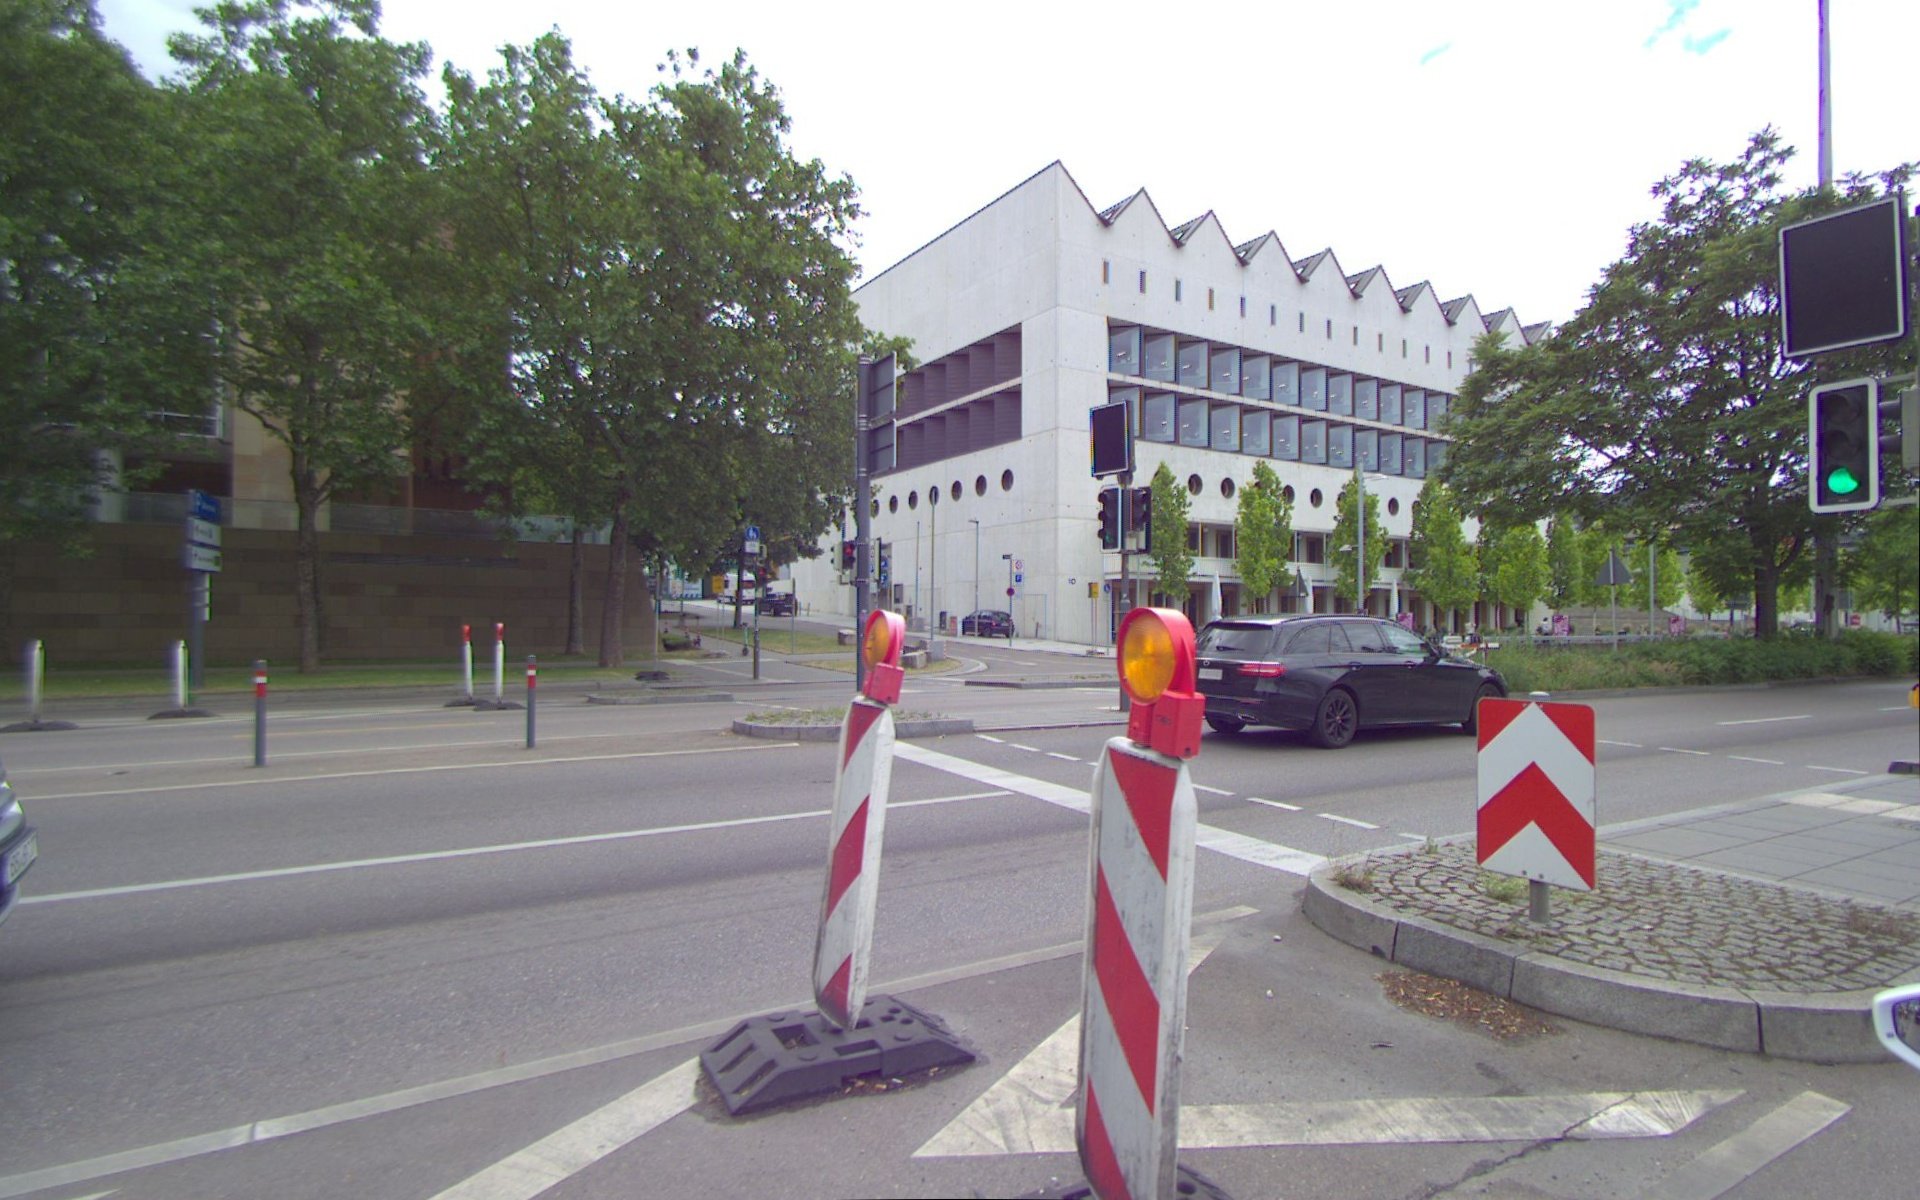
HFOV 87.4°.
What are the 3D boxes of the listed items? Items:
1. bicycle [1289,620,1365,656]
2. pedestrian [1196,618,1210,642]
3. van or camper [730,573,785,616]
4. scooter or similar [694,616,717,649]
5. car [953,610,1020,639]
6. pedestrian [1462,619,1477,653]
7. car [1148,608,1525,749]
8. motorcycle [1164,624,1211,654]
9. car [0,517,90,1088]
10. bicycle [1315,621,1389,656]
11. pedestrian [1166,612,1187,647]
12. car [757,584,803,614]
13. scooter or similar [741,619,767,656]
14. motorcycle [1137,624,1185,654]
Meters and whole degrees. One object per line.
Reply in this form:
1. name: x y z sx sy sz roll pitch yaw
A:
1. bicycle: 18.268 1.885 50.141 1.170 1.706 3.593 0 -1 -32
2. pedestrian: 14.003 1.743 57.835 0.559 1.344 0.516 2 -3 -31
3. van or camper: -16.817 -0.485 83.107 2.370 3.392 6.276 1 1 -32
4. scooter or similar: -10.416 1.320 41.161 0.531 1.358 1.407 1 -1 -31
5. car: 1.407 1.321 54.451 1.732 1.293 3.965 2 2 -31
6. pedestrian: 31.355 2.209 61.816 0.699 2.040 0.739 -1 -2 19
7. car: 4.778 0.903 12.524 4.806 1.479 1.804 2 -2 -30
8. motorcycle: 9.807 1.658 43.249 1.858 1.249 0.657 -1 -3 34
9. car: -5.182 0.601 2.297 4.610 1.738 1.881 0 0 -35
10. bicycle: 20.135 1.962 51.697 1.170 1.706 3.593 0 -1 -32
11. pedestrian: 9.726 1.320 45.078 0.865 1.577 0.598 0 -1 16
12. car: -12.874 -0.094 71.732 1.977 1.874 3.966 2 2 -31
13. scooter or similar: -7.745 1.411 37.749 0.531 1.358 1.407 1 -1 -31
14. motorcycle: 8.542 1.647 42.700 1.858 1.249 0.657 -1 -3 34
